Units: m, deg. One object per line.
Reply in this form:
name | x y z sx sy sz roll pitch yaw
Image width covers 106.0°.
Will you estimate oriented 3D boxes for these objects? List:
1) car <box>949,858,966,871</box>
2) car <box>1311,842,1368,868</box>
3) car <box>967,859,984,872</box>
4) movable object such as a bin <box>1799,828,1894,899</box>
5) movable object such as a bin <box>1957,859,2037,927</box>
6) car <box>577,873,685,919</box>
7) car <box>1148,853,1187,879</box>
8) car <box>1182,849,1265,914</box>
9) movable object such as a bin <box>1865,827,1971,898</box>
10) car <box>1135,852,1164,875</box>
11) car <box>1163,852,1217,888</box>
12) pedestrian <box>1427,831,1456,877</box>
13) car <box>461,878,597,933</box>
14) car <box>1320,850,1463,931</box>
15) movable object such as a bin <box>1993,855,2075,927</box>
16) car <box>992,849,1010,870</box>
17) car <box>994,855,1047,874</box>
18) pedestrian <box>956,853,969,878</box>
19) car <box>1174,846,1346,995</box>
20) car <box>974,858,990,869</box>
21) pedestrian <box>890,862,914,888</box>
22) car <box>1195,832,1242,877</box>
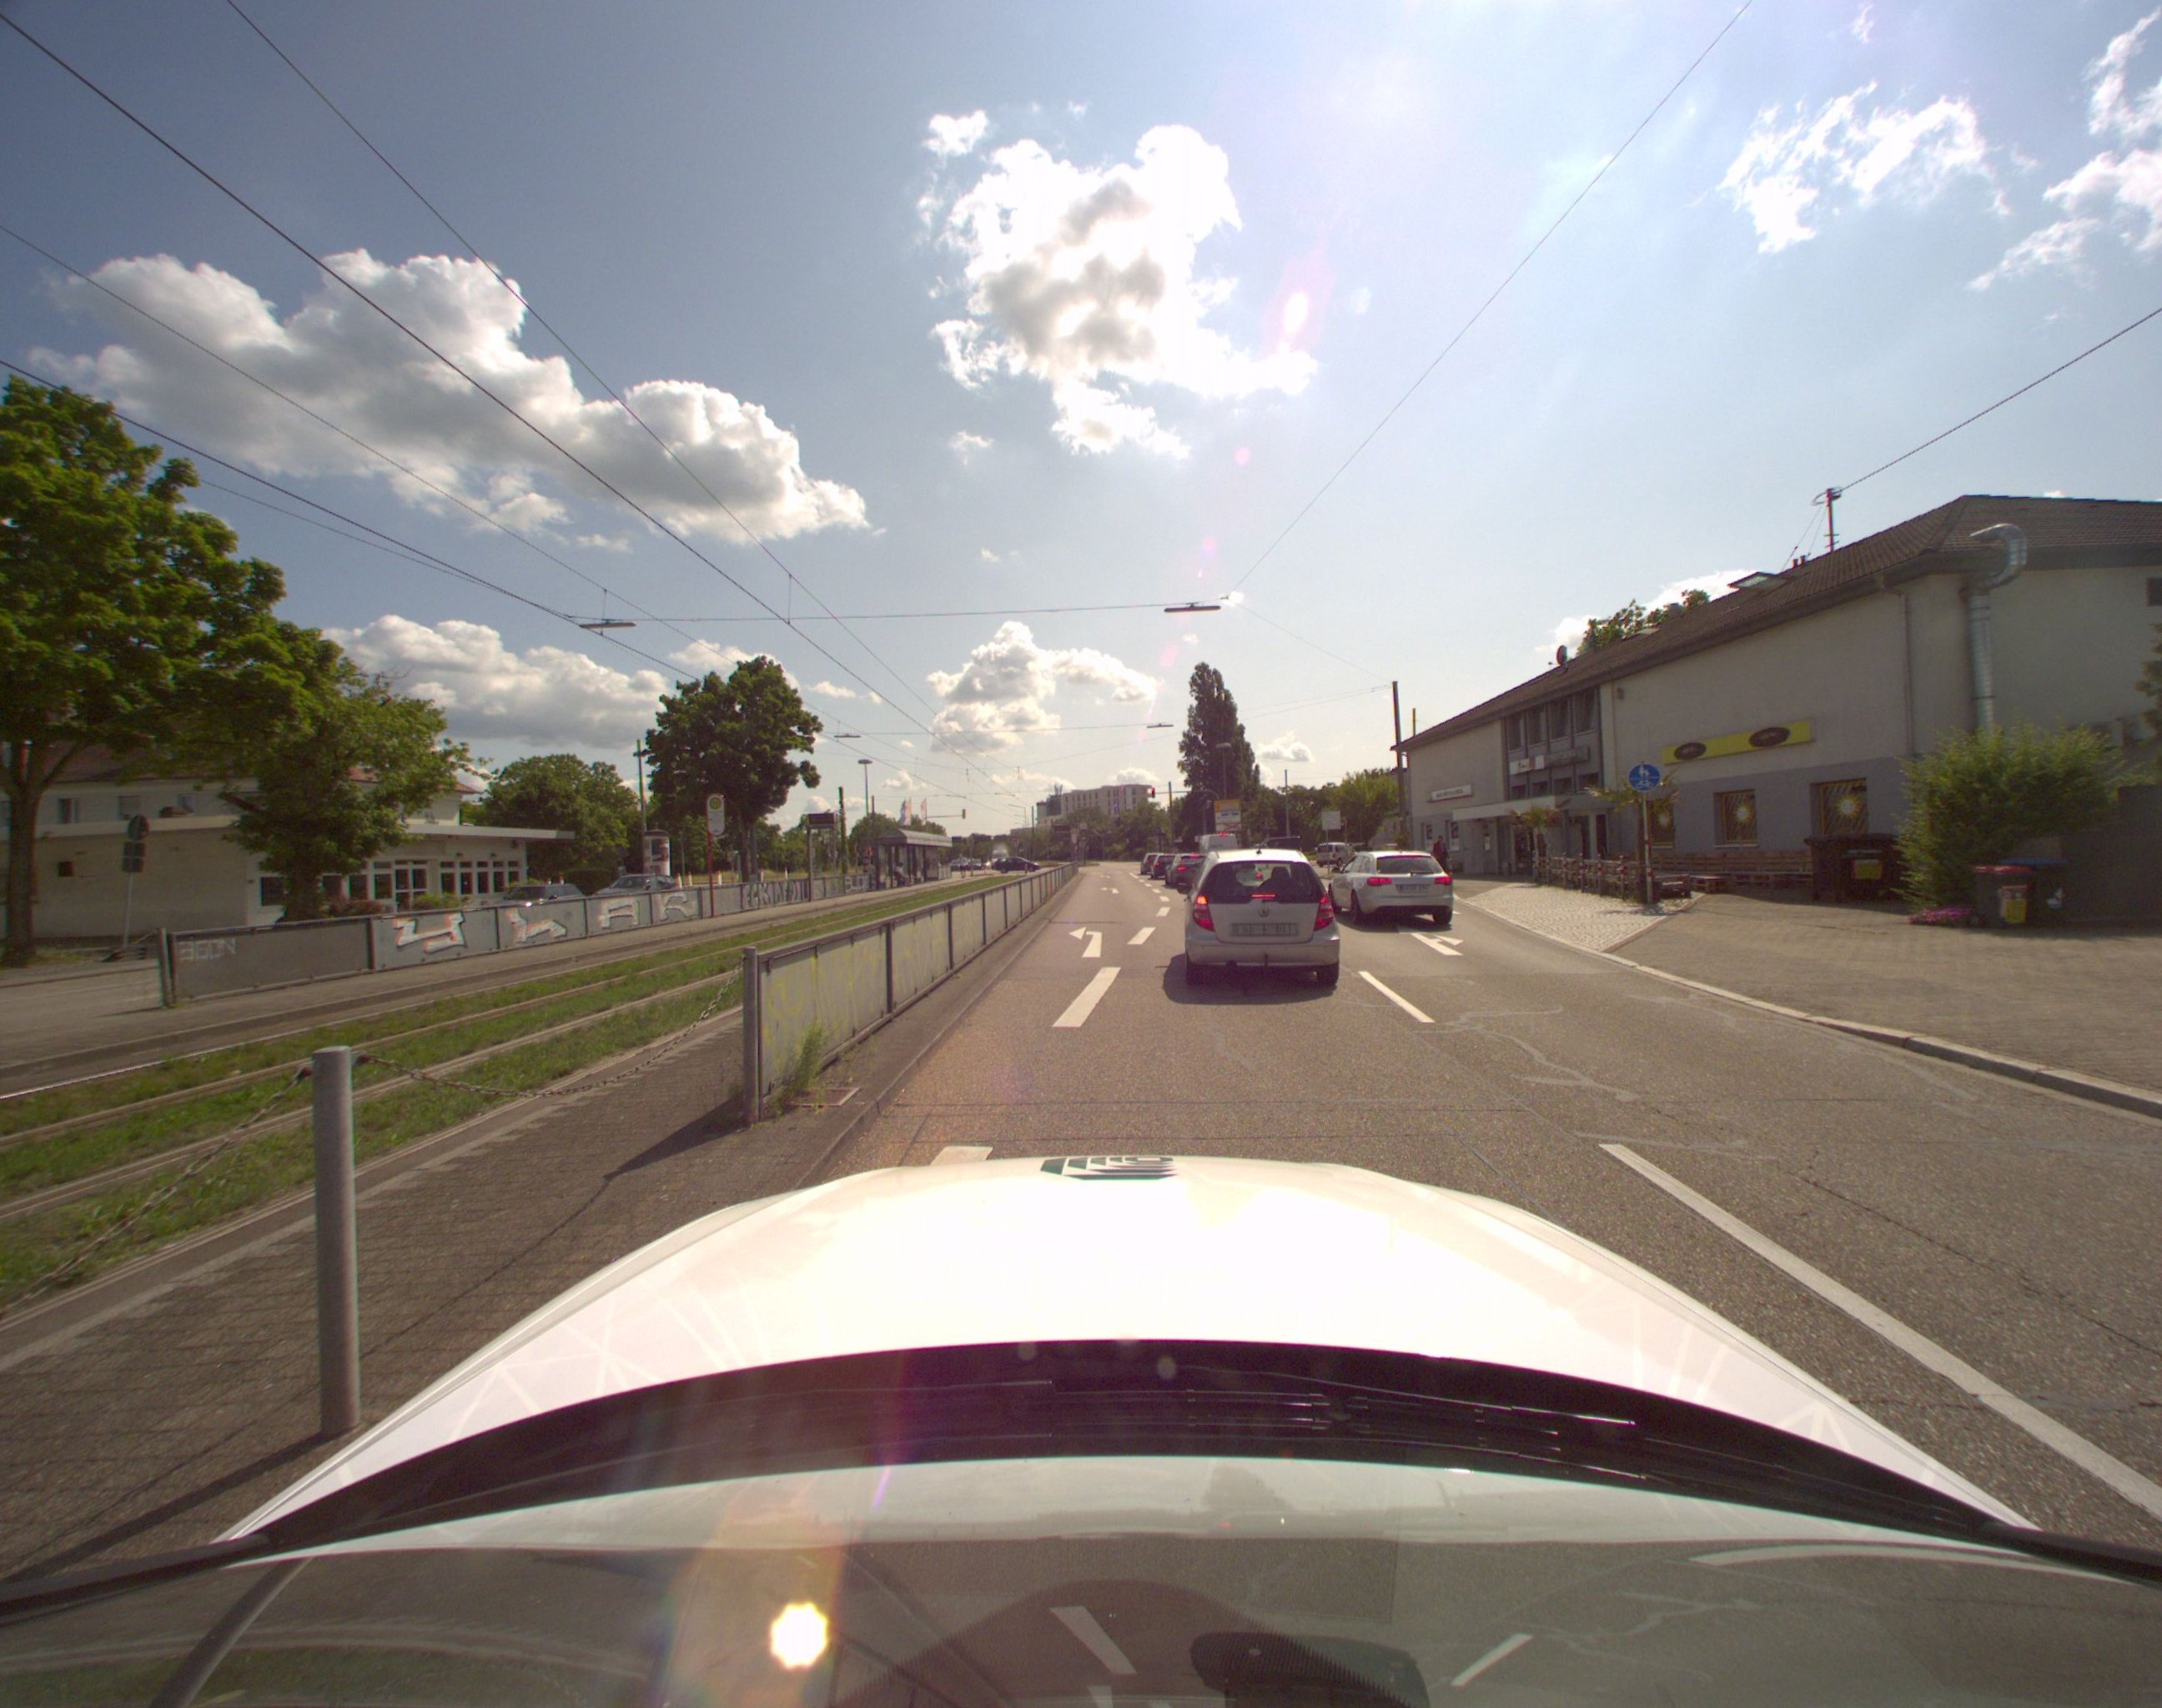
car | -16.337 1.339 107.961 1.858 1.651 3.996 -1 0 -3
car | 19.755 0.064 62.286 4.108 1.731 1.872 -2 -2 -32
car | -13.655 1.458 105.537 1.892 1.541 3.726 -1 0 -2
movable object such as a bin | 15.456 0.180 16.467 1.077 1.332 0.888 -3 2 3
movable object such as a bin | 12.548 0.523 11.169 0.443 0.895 0.545 -3 0 -3
car | -18.777 1.691 34.271 2.056 1.614 4.746 -3 0 -4
car | 4.967 0.648 47.137 1.863 1.419 4.101 -1 0 1
car | 3.673 0.643 21.614 1.730 1.492 4.636 -2 0 5
movable object such as a bin | 16.834 0.155 16.410 1.197 1.332 0.889 -2 2 10
car | 4.734 0.658 56.606 1.738 1.499 4.381 -1 0 1
car | 4.813 0.673 36.453 1.880 1.448 4.829 -1 0 1
pedestrian | 14.472 0.003 32.728 0.718 1.782 0.703 -5 0 4
car | -18.849 1.706 28.035 1.779 1.584 3.934 -2 0 3
car | 6.514 0.684 17.619 1.844 1.492 4.545 -2 0 7
movable object such as a bin | 13.049 0.495 11.160 0.440 0.935 0.549 -3 0 -3
car | -10.580 0.730 108.177 1.988 2.606 4.877 -1 0 -1
car | -5.738 0.972 77.282 4.650 1.549 2.004 -3 0 6
pedestrian | -8.478 0.820 58.220 0.805 1.795 0.708 -2 0 -1
car | 2.240 0.721 10.898 1.777 1.577 4.104 -2 0 8
car | -13.855 1.291 114.401 1.797 1.541 4.160 -1 0 -2
pedestrian | -9.656 1.113 43.892 1.055 1.376 0.861 -1 -1 1
car | 8.442 0.018 50.287 2.034 2.557 5.232 -2 0 1
